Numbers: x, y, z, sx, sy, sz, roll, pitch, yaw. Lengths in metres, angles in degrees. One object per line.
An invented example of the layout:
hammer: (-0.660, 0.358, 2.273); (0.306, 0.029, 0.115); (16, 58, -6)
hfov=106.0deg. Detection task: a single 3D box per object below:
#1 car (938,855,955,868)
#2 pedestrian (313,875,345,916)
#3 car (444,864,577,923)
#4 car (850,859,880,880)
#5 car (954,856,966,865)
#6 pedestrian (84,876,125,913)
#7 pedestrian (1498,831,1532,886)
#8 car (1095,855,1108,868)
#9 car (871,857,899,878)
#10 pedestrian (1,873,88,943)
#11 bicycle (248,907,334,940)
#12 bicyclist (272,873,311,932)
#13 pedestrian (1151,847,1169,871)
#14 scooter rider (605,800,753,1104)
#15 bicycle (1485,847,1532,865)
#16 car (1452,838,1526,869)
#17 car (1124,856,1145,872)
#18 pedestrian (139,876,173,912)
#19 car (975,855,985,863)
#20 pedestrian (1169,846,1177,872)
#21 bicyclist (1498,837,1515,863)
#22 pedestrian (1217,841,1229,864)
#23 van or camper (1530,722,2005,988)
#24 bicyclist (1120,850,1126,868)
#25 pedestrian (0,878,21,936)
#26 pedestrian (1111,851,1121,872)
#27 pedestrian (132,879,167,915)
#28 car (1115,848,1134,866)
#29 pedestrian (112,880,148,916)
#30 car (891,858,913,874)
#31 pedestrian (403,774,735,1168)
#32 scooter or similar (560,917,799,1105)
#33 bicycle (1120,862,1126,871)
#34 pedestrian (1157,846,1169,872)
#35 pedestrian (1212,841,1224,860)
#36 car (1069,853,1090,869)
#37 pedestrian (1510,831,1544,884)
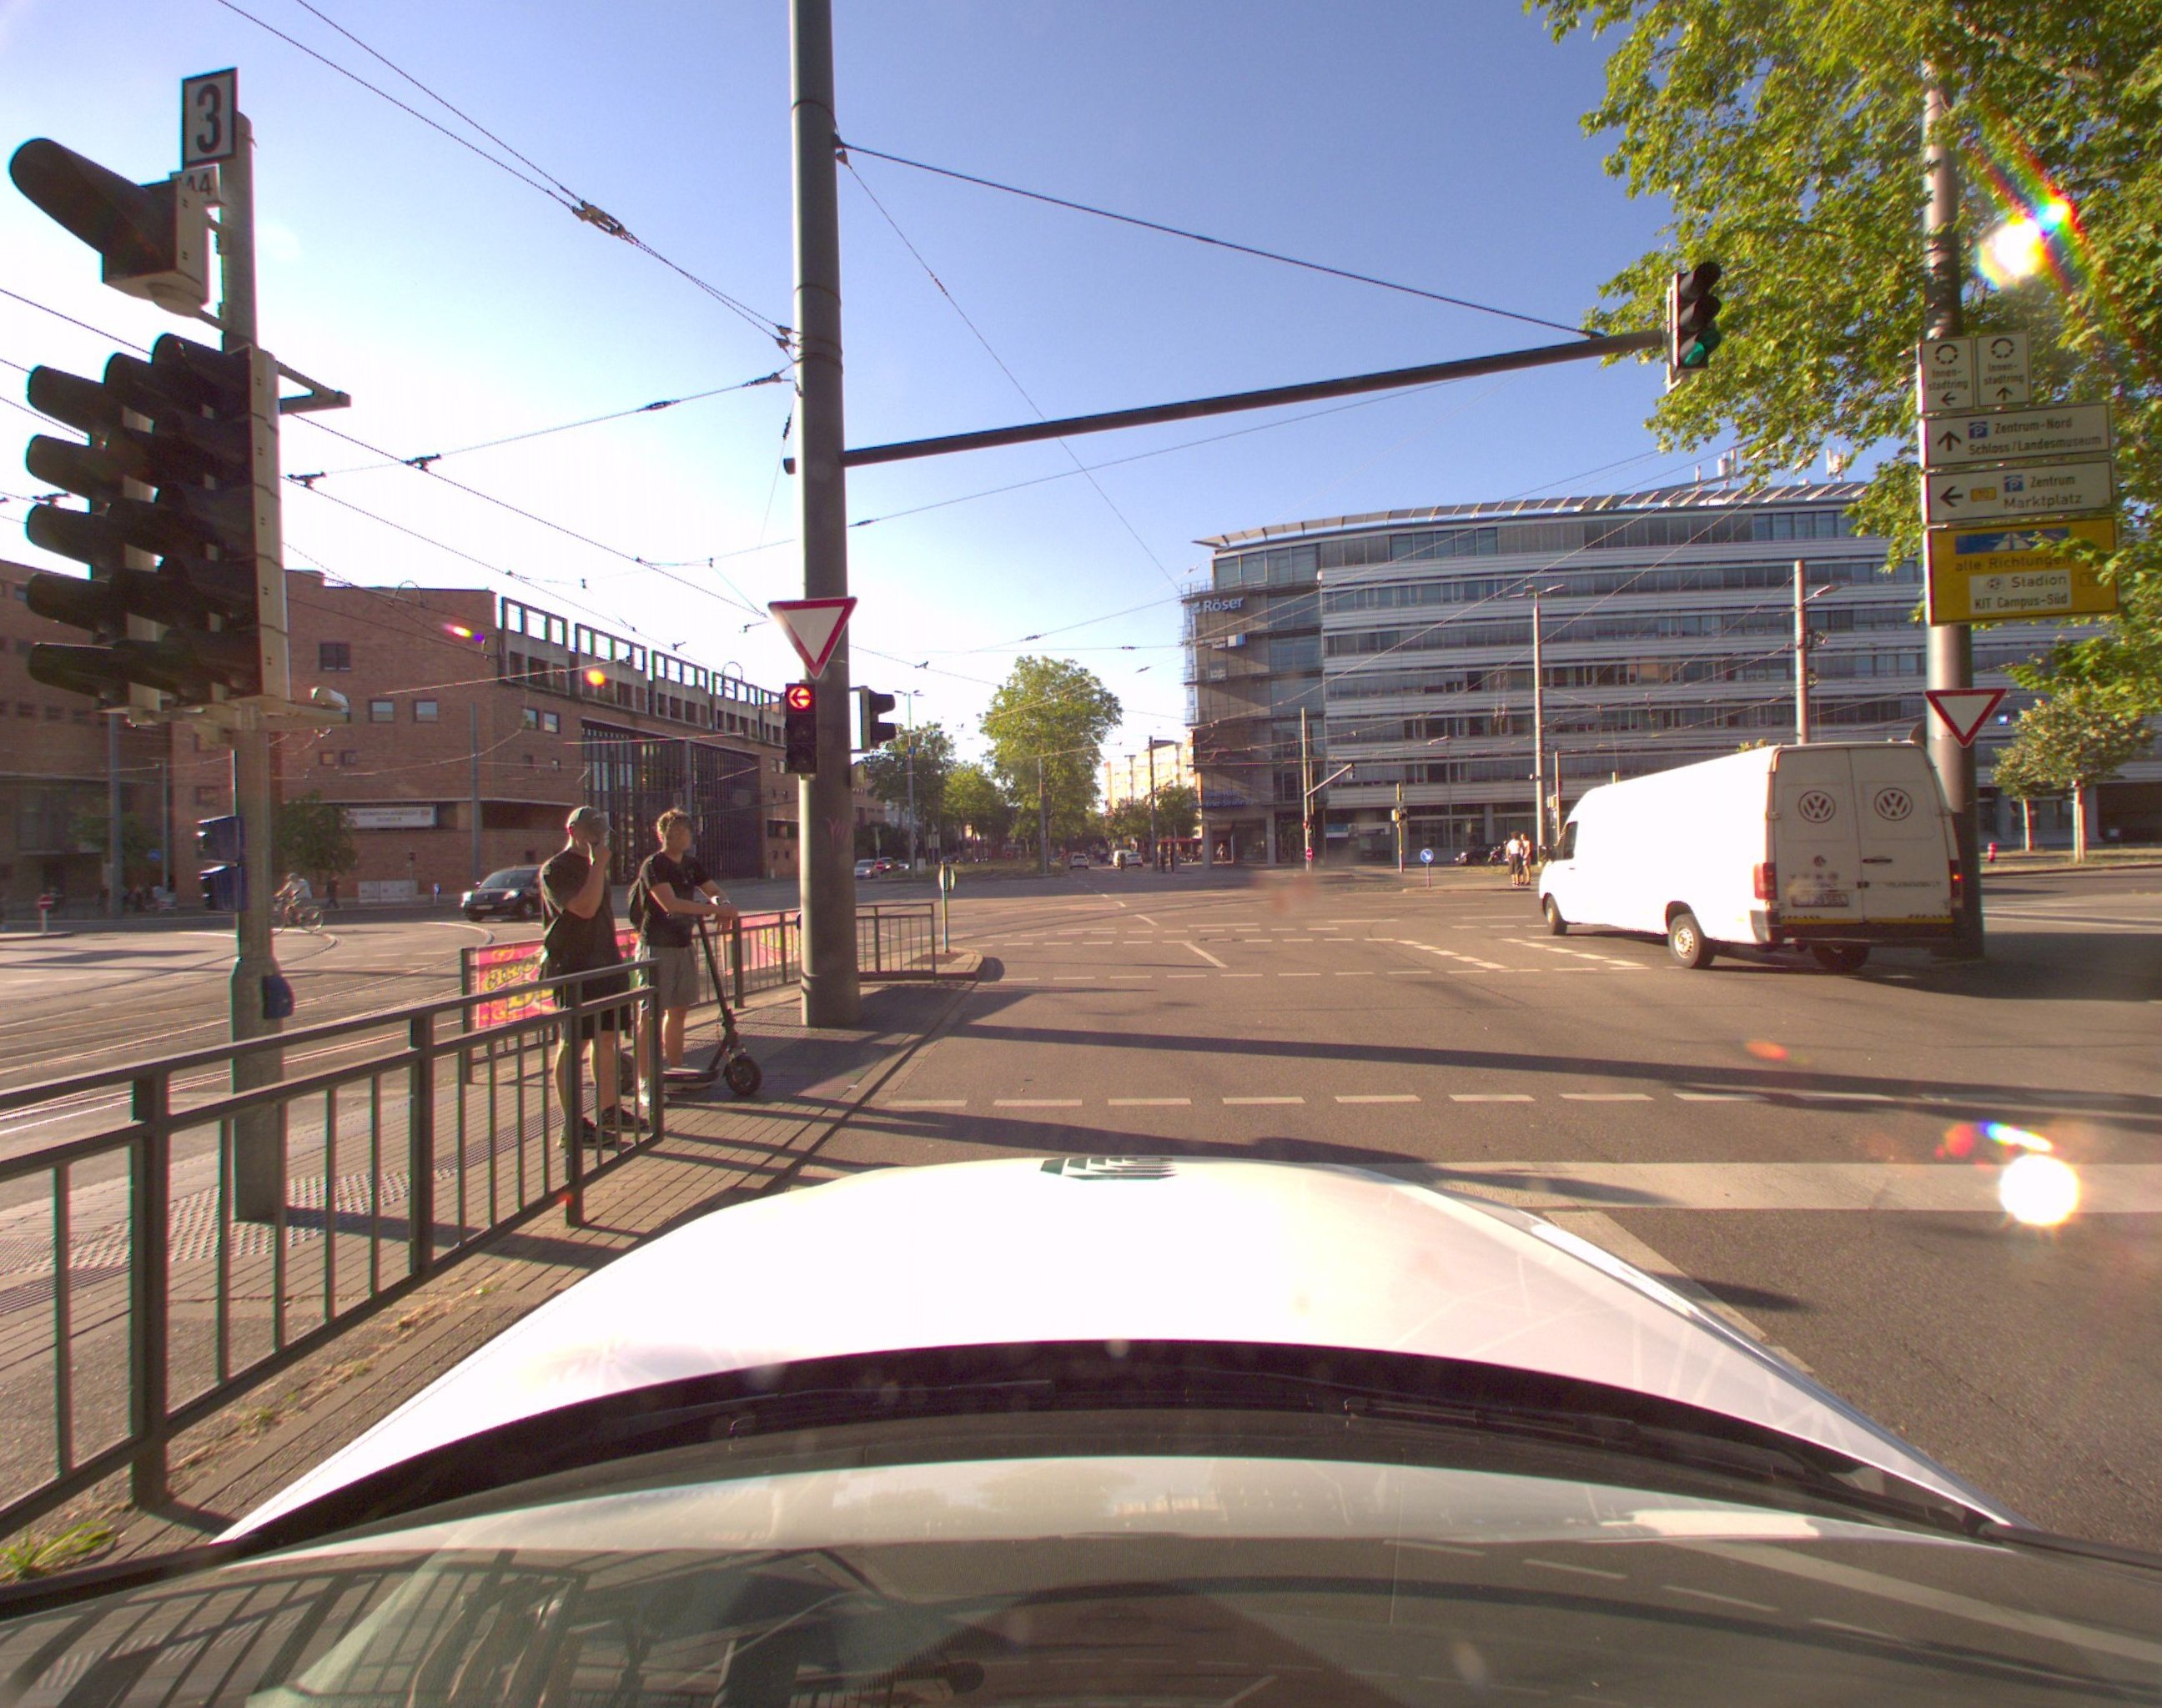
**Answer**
car: (-23.360, 1.281, 141.699); (1.867, 2.013, 4.477); (-2, 0, 4)
pedestrian: (-35.705, 1.964, 38.666); (0.721, 1.902, 0.875); (0, -1, -1)
car: (-18.825, 1.238, 27.109); (1.865, 1.762, 3.992); (0, 0, -5)
car: (-17.962, 1.251, 67.869); (1.618, 1.577, 3.994); (-2, 0, -4)
car: (-25.468, 1.398, 171.491); (1.903, 1.783, 4.002); (-2, 0, 2)
pedestrian: (-55.769, 2.284, 46.536); (1.155, 2.013, 0.910); (-2, 0, -2)
pedestrian: (14.329, 0.142, 26.867); (0.745, 1.759, 0.672); (-2, 0, -35)
car: (3.267, 1.165, 126.799); (1.986, 2.014, 4.001); (0, -1, 2)
car: (-18.186, 1.203, 75.680); (1.819, 1.790, 3.994); (-2, 0, -4)
pedestrian: (-31.012, 1.580, 24.393); (1.029, 2.014, 1.208); (0, -1, 1)
bicycle: (-22.647, 1.971, 23.405); (0.588, 0.771, 1.966); (-2, 0, -2)
bicyclist: (-22.664, 1.387, 23.385); (0.585, 1.625, 0.514); (-2, 0, -3)
pedestrian: (6.395, 0.398, 66.201); (1.337, 1.950, 1.011); (-2, -1, 1)
scooter rider: (-2.612, 0.611, 5.346); (0.563, 1.853, 0.681); (-2, -2, 6)
bicycle: (25.722, 0.125, 49.028); (2.397, 1.022, 0.638); (-2, 0, 6)
car: (27.191, -0.043, 54.414); (3.972, 2.014, 2.001); (0, -1, 2)
car: (5.403, 0.971, 82.840); (2.022, 1.596, 4.001); (0, -1, 2)
pedestrian: (-55.974, 2.416, 49.305); (1.003, 2.052, 0.850); (-2, 0, -1)
car: (-23.608, 1.137, 190.417); (1.837, 1.783, 4.002); (-2, 0, 2)
pedestrian: (7.083, 0.410, 62.721); (0.584, 2.014, 0.620); (0, -1, 2)
bicyclist: (25.609, -0.227, 49.043); (0.660, 1.503, 0.614); (-2, 0, 7)
pedestrian: (12.153, -0.129, 69.670); (0.866, 2.014, 0.794); (0, -2, 1)
van or camper: (8.647, 0.014, 11.427); (1.988, 2.614, 6.515); (-2, 0, 9)
bicyclist: (3.442, 0.400, 66.732); (0.485, 1.439, 0.616); (-1, -1, 1)
pedestrian: (-38.092, 1.863, 28.686); (0.615, 2.013, 0.726); (-2, 0, -28)
pedestrian: (2.889, 0.631, 67.499); (0.866, 1.707, 0.794); (0, -1, 1)
pedestrian: (-54.767, 2.519, 47.908); (1.003, 2.052, 0.850); (-2, 0, -1)
car: (4.728, 0.338, 89.668); (1.986, 2.014, 4.001); (0, -1, 2)
pedestrian: (-56.069, 2.596, 48.018); (1.003, 2.052, 0.850); (-2, 0, -1)
car: (-18.559, 1.281, 84.462); (1.673, 1.607, 3.994); (0, -1, -4)
pedestrian: (-2.681, 0.581, 4.380); (1.161, 1.884, 0.856); (-2, 0, 6)
scooter or similar: (-2.581, 0.993, 5.317); (1.196, 1.081, 0.649); (-2, 0, 5)
bicycle: (3.459, 1.018, 66.809); (0.489, 0.788, 1.862); (-1, 0, 2)
pedestrian: (6.490, 0.411, 64.315); (0.847, 2.014, 0.707); (0, -1, -2)
pedestrian: (16.296, -0.426, 96.912); (1.305, 2.190, 1.173); (-1, -1, 8)
car: (-0.128, 0.666, 77.839); (1.740, 1.418, 4.004); (-1, 0, 4)
pedestrian: (14.970, 0.120, 27.318); (0.745, 1.759, 0.678); (-2, 0, -35)
